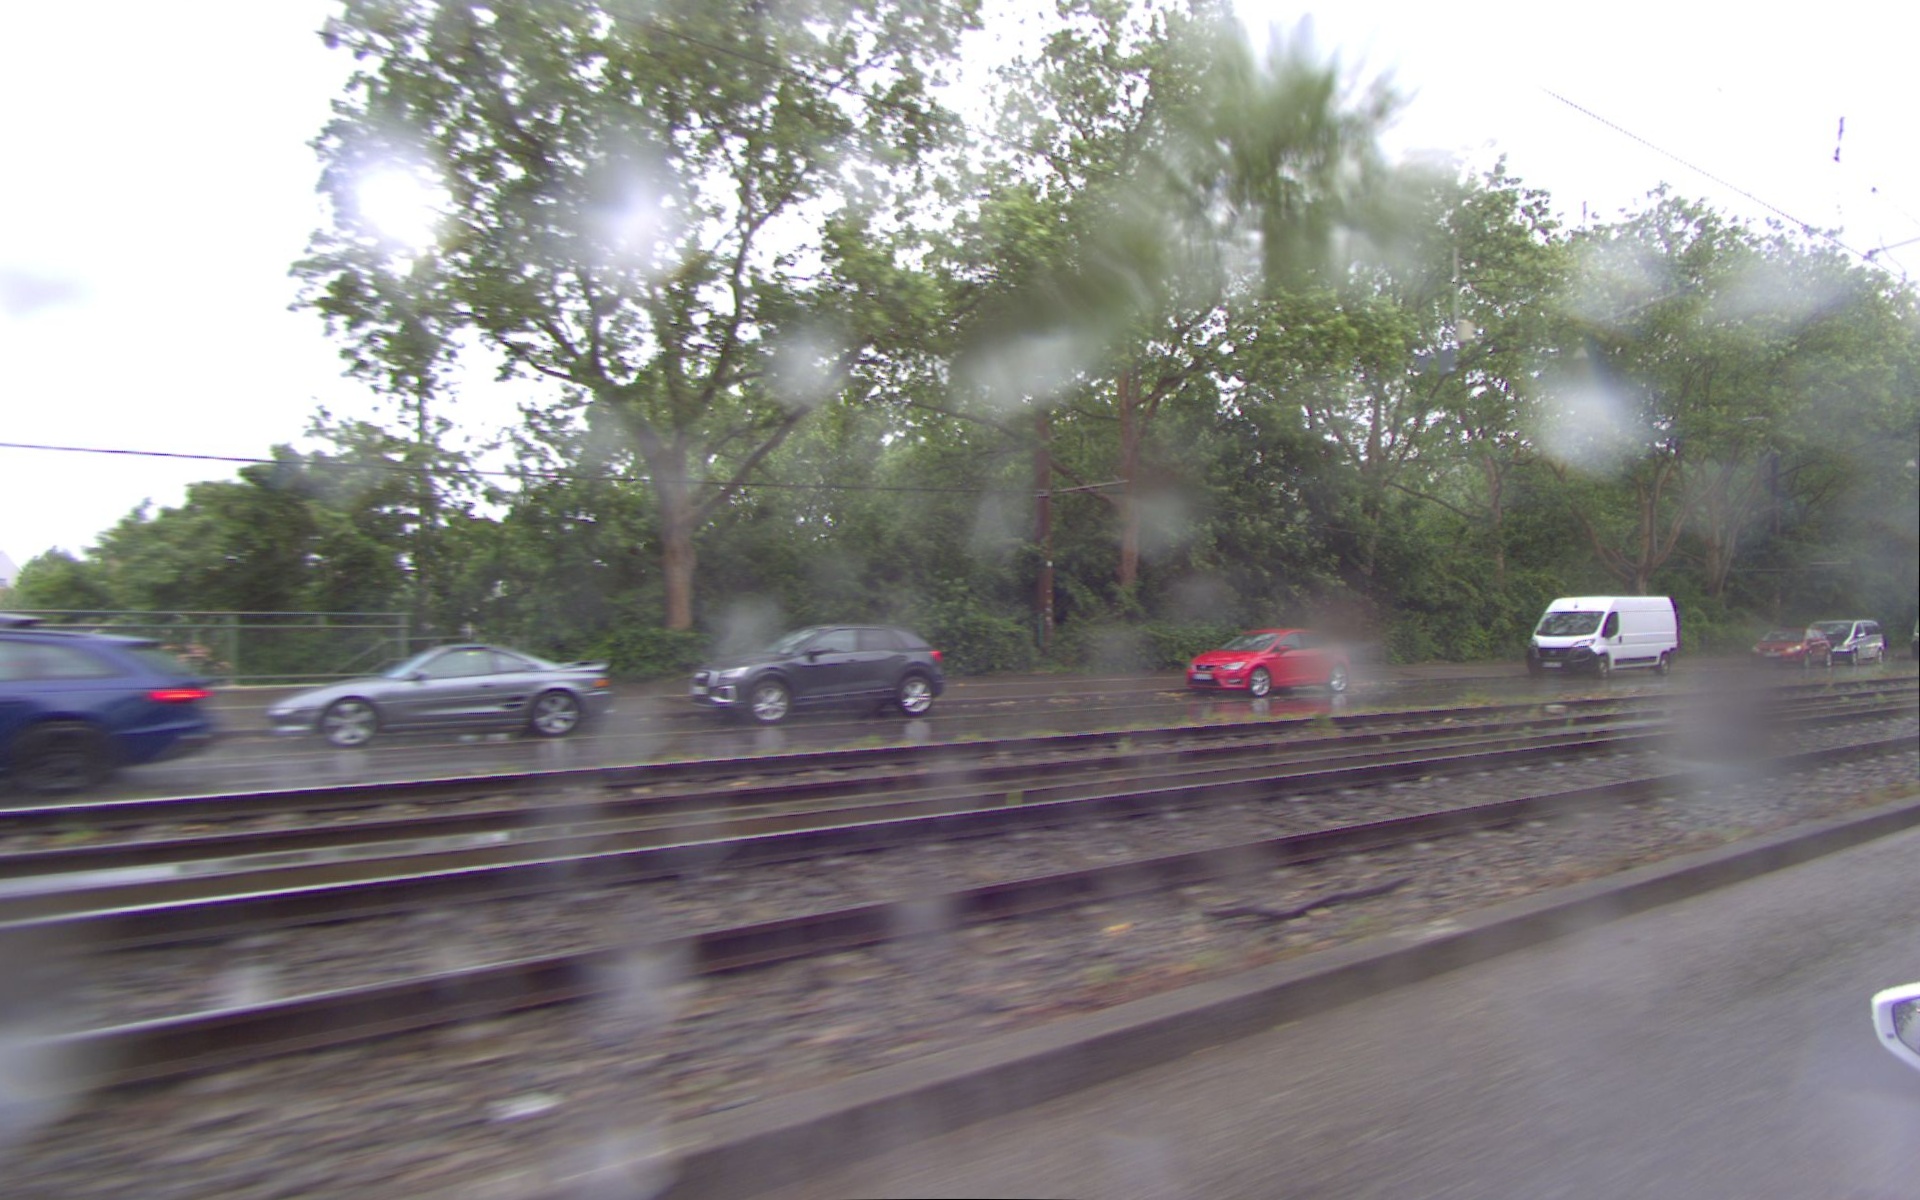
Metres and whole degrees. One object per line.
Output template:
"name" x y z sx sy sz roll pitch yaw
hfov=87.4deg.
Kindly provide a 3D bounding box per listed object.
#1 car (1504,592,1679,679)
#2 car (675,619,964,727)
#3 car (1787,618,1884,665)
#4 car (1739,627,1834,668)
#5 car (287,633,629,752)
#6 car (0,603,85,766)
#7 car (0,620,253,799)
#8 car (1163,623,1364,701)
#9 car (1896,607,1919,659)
"car" 19.671 1.104 31.193 6.074 2.478 2.316 2 -2 -34
"car" -2.268 1.122 16.633 4.340 1.572 2.021 1 -2 -35
"car" 37.488 1.764 42.991 4.591 1.886 1.946 1 -2 -33
"car" 32.651 1.844 39.655 3.981 1.572 1.807 1 -2 -33
"car" -6.741 1.144 13.651 3.923 1.397 1.875 1 -2 -33
"car" -11.883 0.863 10.147 4.322 1.672 1.875 1 -2 -33
"car" -9.167 0.920 8.734 4.868 1.486 2.021 1 -2 -35
"car" 6.878 1.321 22.685 4.336 1.573 2.022 1 -1 -32
"car" 50.652 1.708 51.629 6.500 2.574 2.374 1 -2 -35
